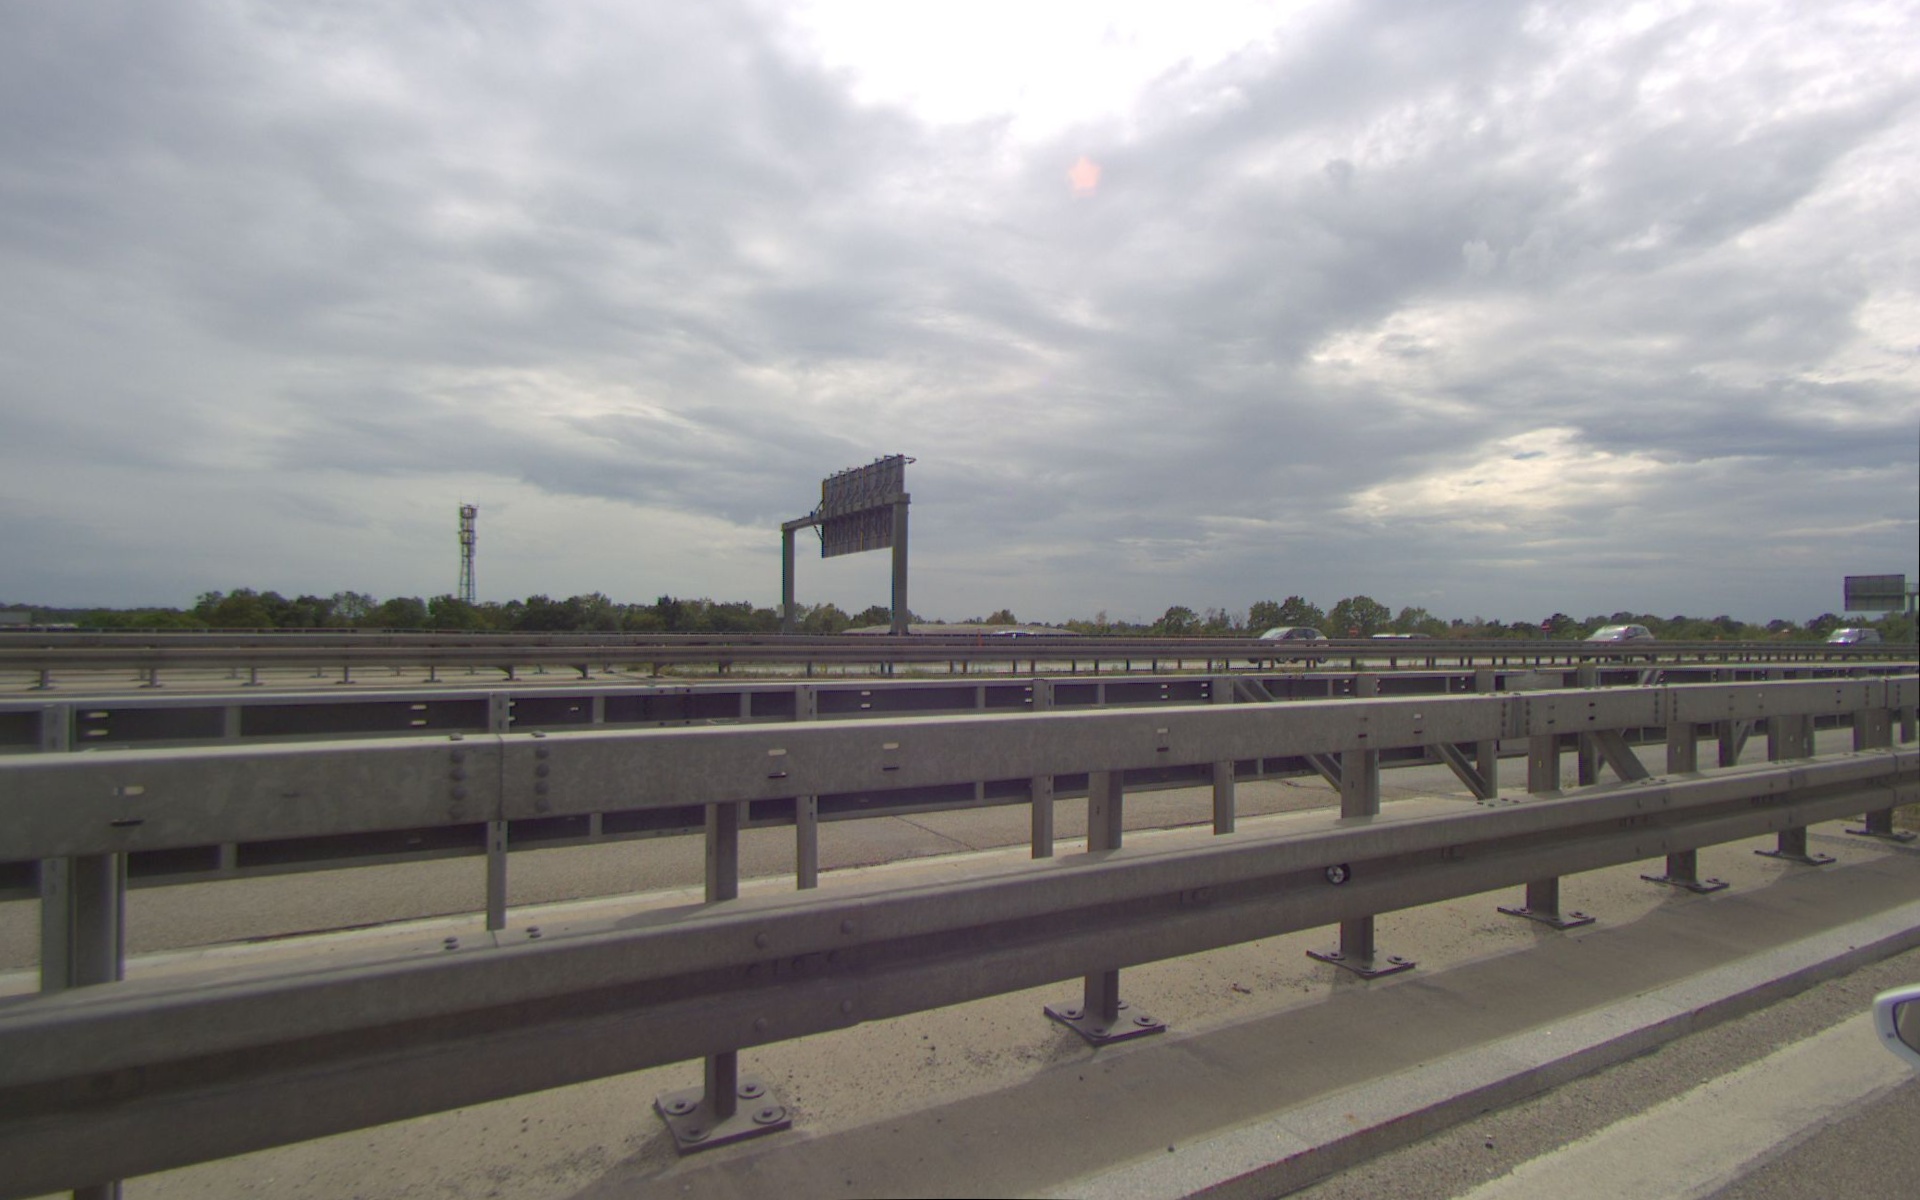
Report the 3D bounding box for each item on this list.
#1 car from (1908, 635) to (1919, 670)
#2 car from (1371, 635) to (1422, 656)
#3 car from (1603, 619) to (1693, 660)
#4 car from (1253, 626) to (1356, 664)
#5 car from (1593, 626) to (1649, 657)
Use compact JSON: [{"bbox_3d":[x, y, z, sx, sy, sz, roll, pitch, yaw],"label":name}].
[{"bbox_3d":[46.867,2.485,47.406,4.561,1.567,1.871,1,0,-31],"label":"car"},{"bbox_3d":[34.785,3.632,80.008,3.865,1.516,1.657,2,3,-31],"label":"car"},{"bbox_3d":[32.190,1.814,46.964,3.950,1.818,1.902,0,0,-29],"label":"car"},{"bbox_3d":[14.396,1.845,41.927,4.279,1.441,1.697,1,0,-31],"label":"car"},{"bbox_3d":[52.839,3.264,80.233,4.437,2.337,1.984,1,0,-30],"label":"car"}]
